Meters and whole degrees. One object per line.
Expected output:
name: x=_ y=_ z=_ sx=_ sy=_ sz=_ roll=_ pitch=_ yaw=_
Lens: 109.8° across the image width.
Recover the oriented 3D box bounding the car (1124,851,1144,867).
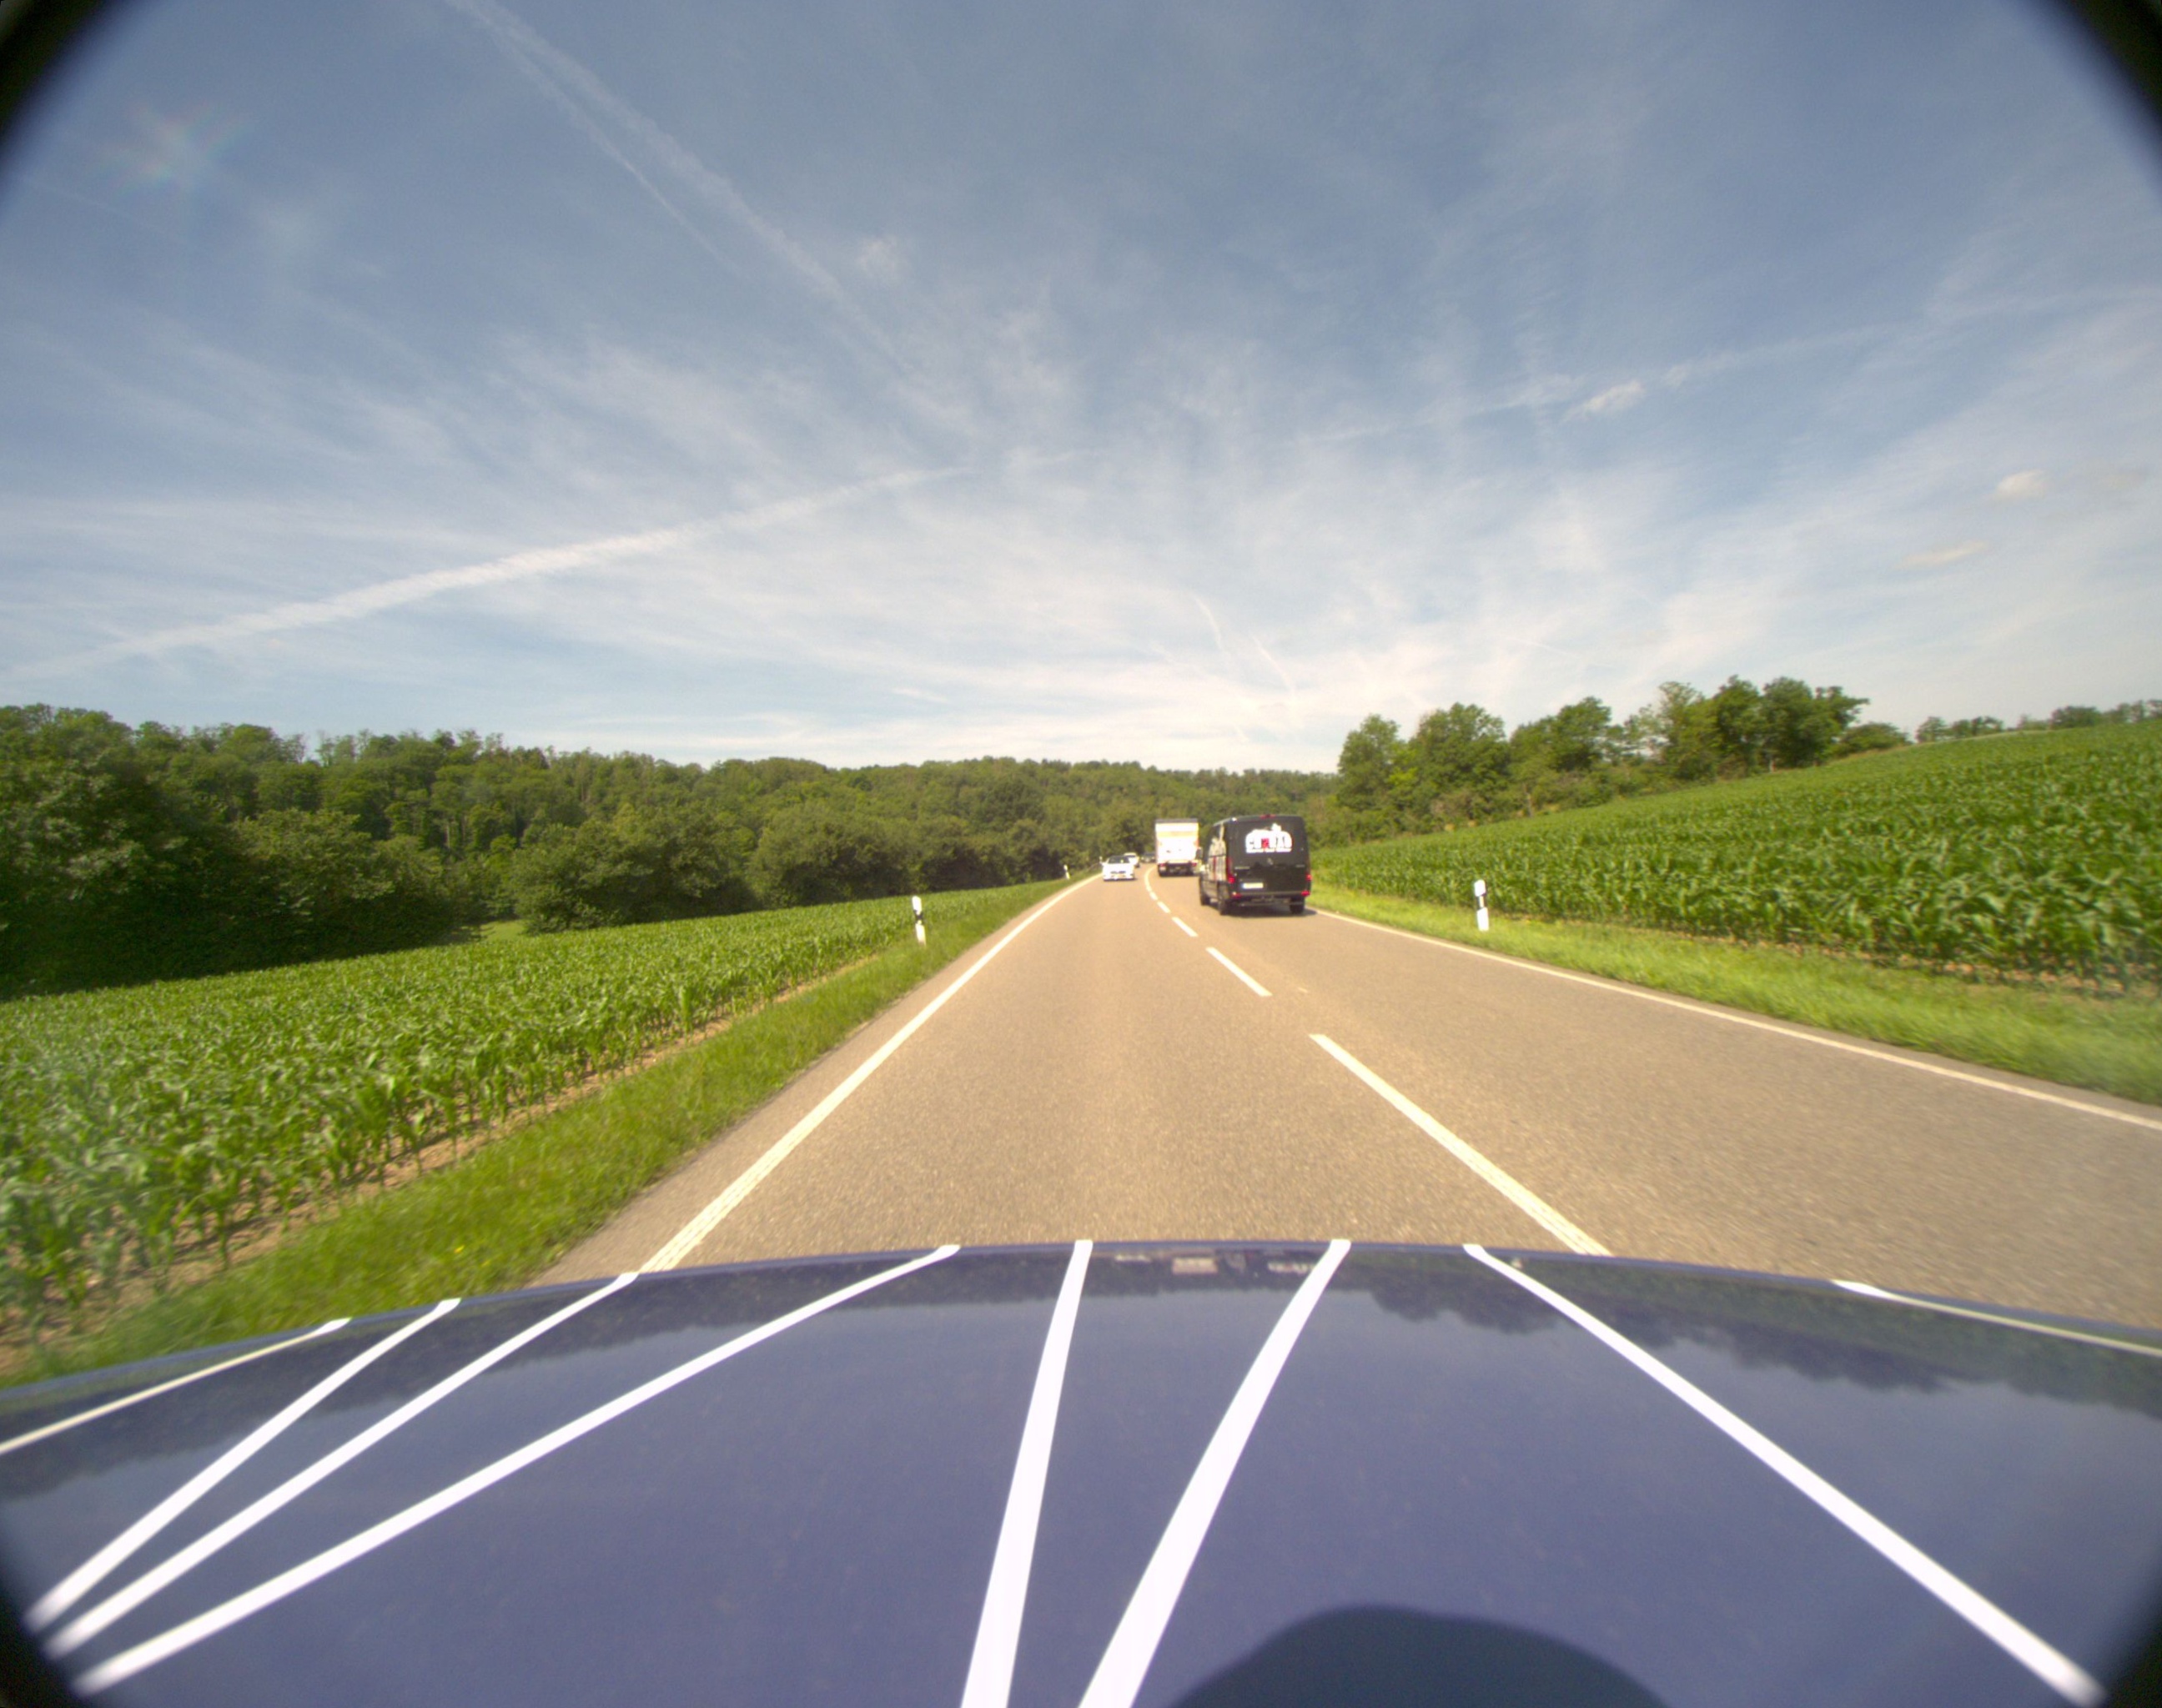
car: x=5.460 y=0.490 z=78.131 sx=1.716 sy=1.523 sz=4.001 roll=-2 pitch=1 yaw=8

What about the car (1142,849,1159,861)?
car: x=9.517 y=0.146 z=103.331 sx=1.741 sy=1.445 sz=4.039 roll=-2 pitch=1 yaw=12

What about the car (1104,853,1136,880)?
car: x=2.383 y=0.701 z=45.742 sx=1.742 sy=1.445 sz=4.037 roll=-2 pitch=1 yaw=6

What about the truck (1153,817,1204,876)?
truck: x=6.458 y=-0.510 z=51.632 sx=2.747 sy=3.558 sz=9.728 roll=-2 pitch=0 yaw=4

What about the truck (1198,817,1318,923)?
truck: x=4.386 y=0.348 z=19.680 sx=2.014 sy=2.306 sz=5.192 roll=-2 pitch=0 yaw=2
